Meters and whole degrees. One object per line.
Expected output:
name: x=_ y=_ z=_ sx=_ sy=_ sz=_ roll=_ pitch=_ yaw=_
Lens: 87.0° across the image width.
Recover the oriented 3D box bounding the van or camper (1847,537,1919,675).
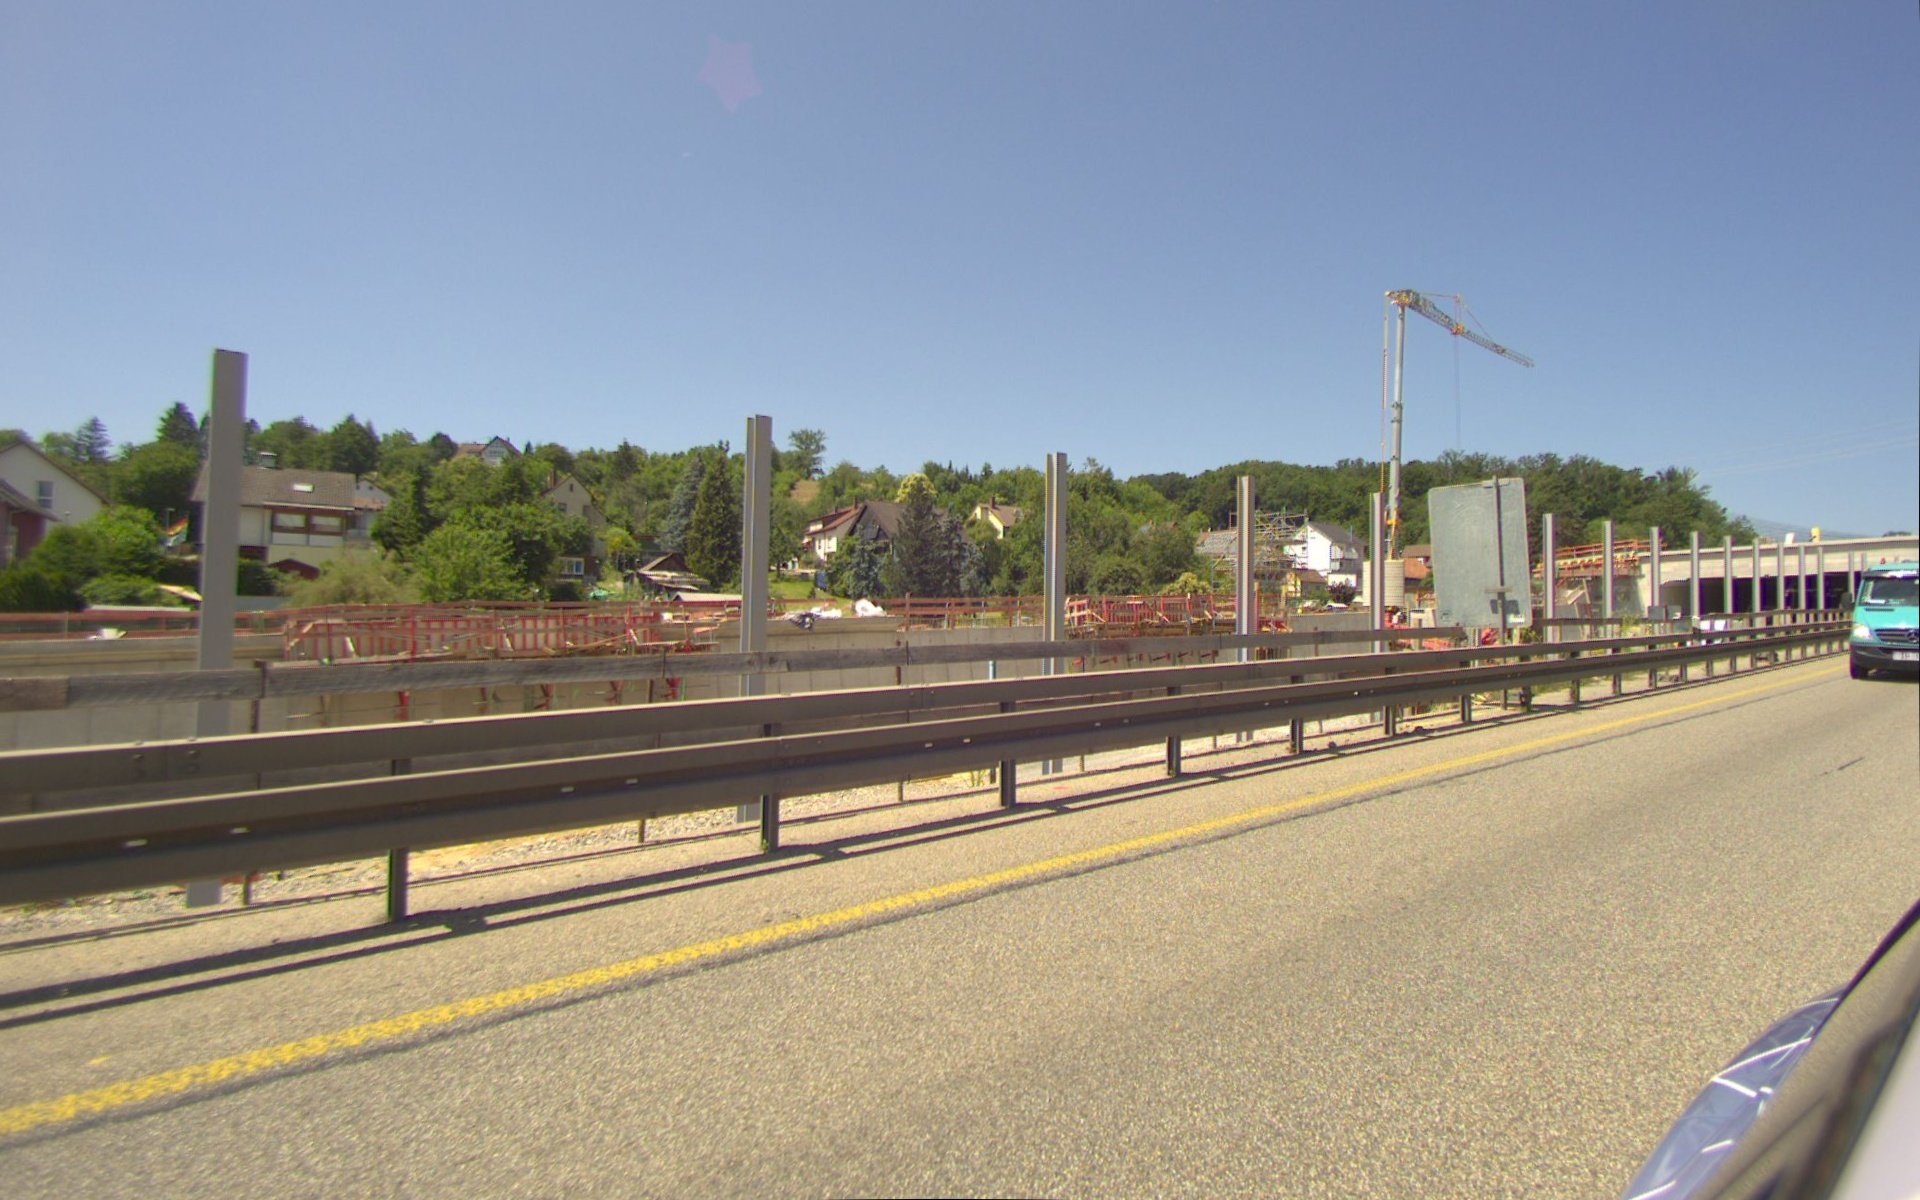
van or camper: x=20.320 y=0.095 z=20.835 sx=7.537 sy=2.504 sz=2.096 roll=0 pitch=0 yaw=-41
